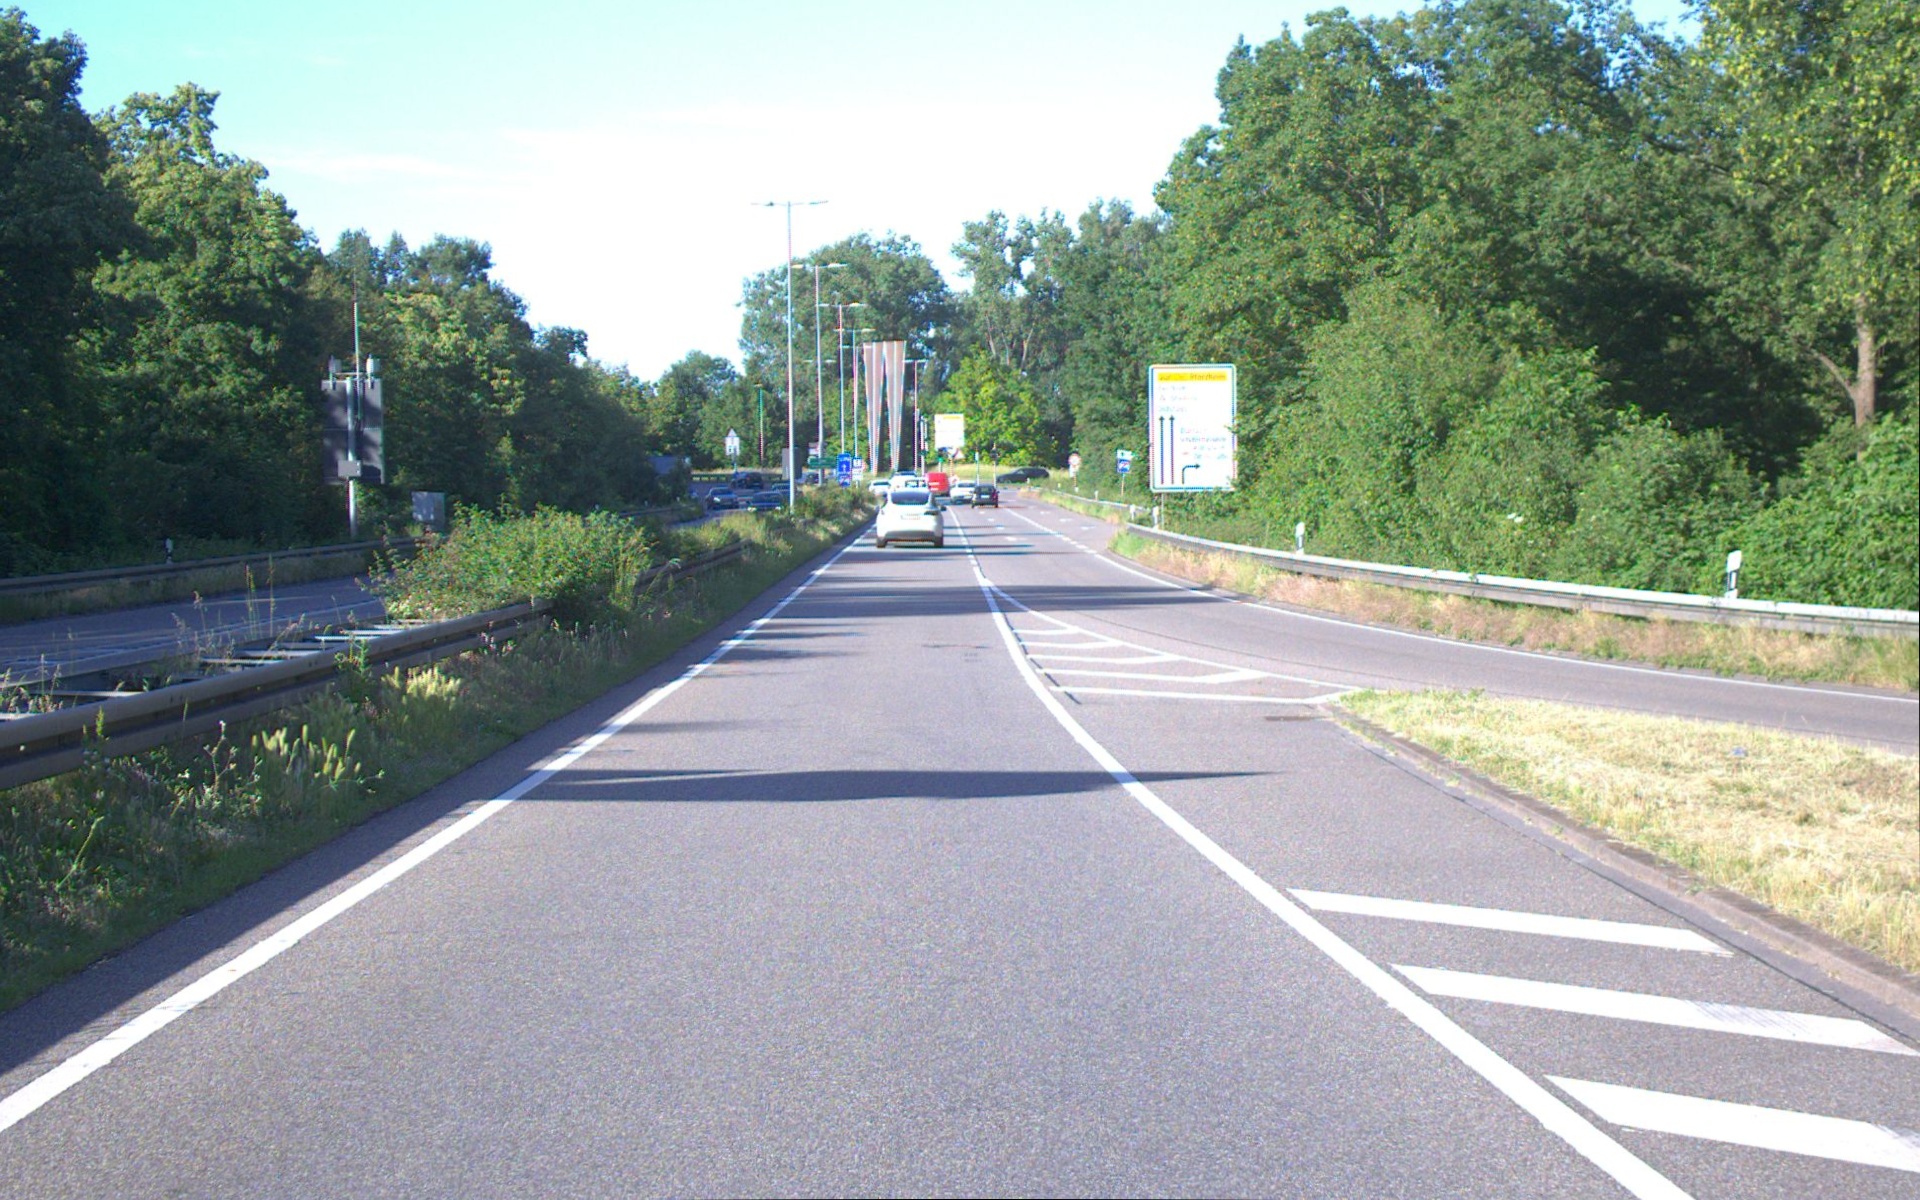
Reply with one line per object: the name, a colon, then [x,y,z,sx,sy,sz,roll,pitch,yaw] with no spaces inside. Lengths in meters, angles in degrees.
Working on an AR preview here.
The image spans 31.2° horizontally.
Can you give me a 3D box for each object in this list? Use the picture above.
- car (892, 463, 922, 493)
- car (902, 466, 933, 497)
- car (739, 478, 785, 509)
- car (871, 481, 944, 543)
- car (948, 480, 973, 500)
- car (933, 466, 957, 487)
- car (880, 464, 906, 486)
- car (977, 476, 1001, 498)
car: [-3.693,-8.424,238.065,1.993,2.007,4.000,1,1,-1]
car: [-2.759,-7.672,222.760,1.993,1.873,4.250,-1,3,-1]
car: [-9.384,-5.073,163.285,1.781,1.398,4.553,-1,2,1]
car: [-1.537,-2.554,99.275,1.993,1.634,4.129,-1,3,-2]
car: [0.020,-7.292,227.851,1.624,1.276,2.987,2,1,-1]
car: [-1.095,-9.000,250.560,1.624,1.385,2.987,2,1,-1]
car: [-4.898,-9.106,251.202,1.827,1.508,3.633,1,1,-1]
car: [1.759,-6.910,210.605,1.388,1.276,2.987,2,1,-1]
